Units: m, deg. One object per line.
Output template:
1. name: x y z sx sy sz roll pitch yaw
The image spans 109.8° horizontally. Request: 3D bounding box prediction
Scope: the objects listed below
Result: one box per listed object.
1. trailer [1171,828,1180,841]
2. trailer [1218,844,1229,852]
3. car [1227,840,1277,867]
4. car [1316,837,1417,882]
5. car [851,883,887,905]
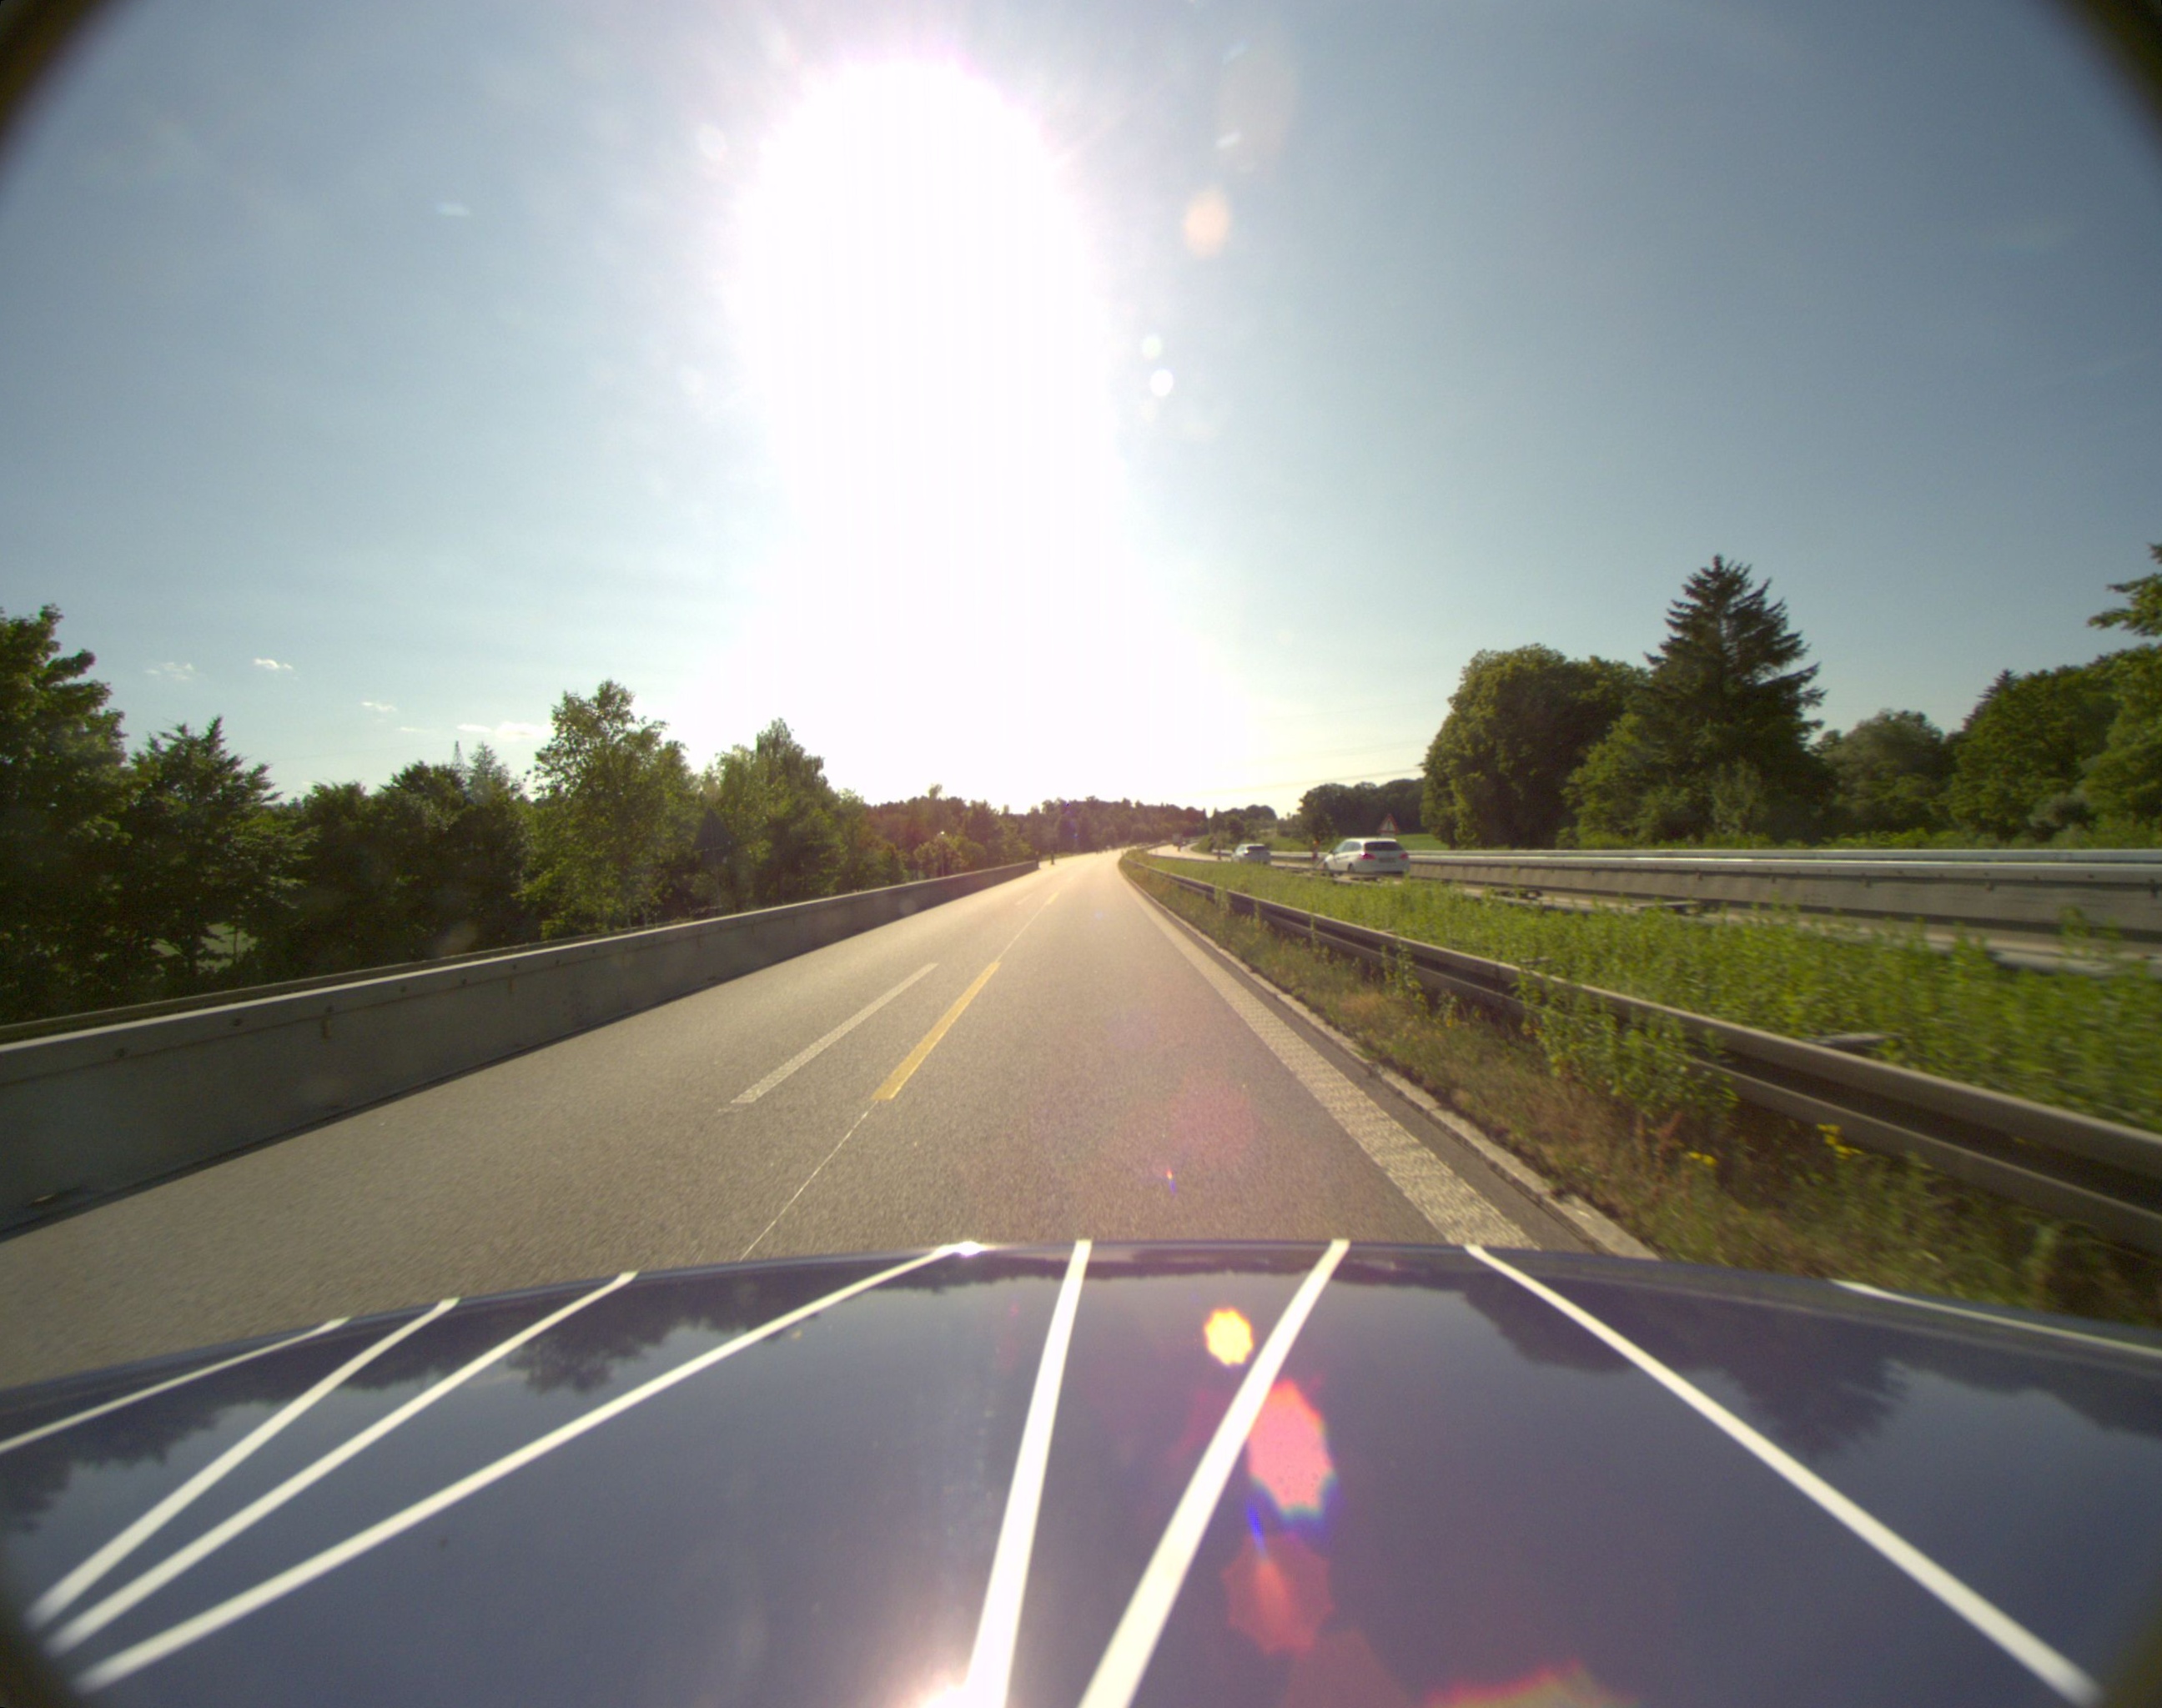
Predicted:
1. trailer: 31.705 -6.519 254.151 2.684 3.931 13.773 -1 1 6
2. trailer: 20.445 -0.895 109.149 0.995 1.047 3.424 -5 1 4
3. car: 10.257 -0.049 45.928 1.888 1.424 4.983 -2 1 1
4. car: 9.820 0.165 26.582 1.705 1.424 4.955 -1 0 1
5. car: -18.322 3.435 65.680 1.768 1.644 3.881 -2 1 3
